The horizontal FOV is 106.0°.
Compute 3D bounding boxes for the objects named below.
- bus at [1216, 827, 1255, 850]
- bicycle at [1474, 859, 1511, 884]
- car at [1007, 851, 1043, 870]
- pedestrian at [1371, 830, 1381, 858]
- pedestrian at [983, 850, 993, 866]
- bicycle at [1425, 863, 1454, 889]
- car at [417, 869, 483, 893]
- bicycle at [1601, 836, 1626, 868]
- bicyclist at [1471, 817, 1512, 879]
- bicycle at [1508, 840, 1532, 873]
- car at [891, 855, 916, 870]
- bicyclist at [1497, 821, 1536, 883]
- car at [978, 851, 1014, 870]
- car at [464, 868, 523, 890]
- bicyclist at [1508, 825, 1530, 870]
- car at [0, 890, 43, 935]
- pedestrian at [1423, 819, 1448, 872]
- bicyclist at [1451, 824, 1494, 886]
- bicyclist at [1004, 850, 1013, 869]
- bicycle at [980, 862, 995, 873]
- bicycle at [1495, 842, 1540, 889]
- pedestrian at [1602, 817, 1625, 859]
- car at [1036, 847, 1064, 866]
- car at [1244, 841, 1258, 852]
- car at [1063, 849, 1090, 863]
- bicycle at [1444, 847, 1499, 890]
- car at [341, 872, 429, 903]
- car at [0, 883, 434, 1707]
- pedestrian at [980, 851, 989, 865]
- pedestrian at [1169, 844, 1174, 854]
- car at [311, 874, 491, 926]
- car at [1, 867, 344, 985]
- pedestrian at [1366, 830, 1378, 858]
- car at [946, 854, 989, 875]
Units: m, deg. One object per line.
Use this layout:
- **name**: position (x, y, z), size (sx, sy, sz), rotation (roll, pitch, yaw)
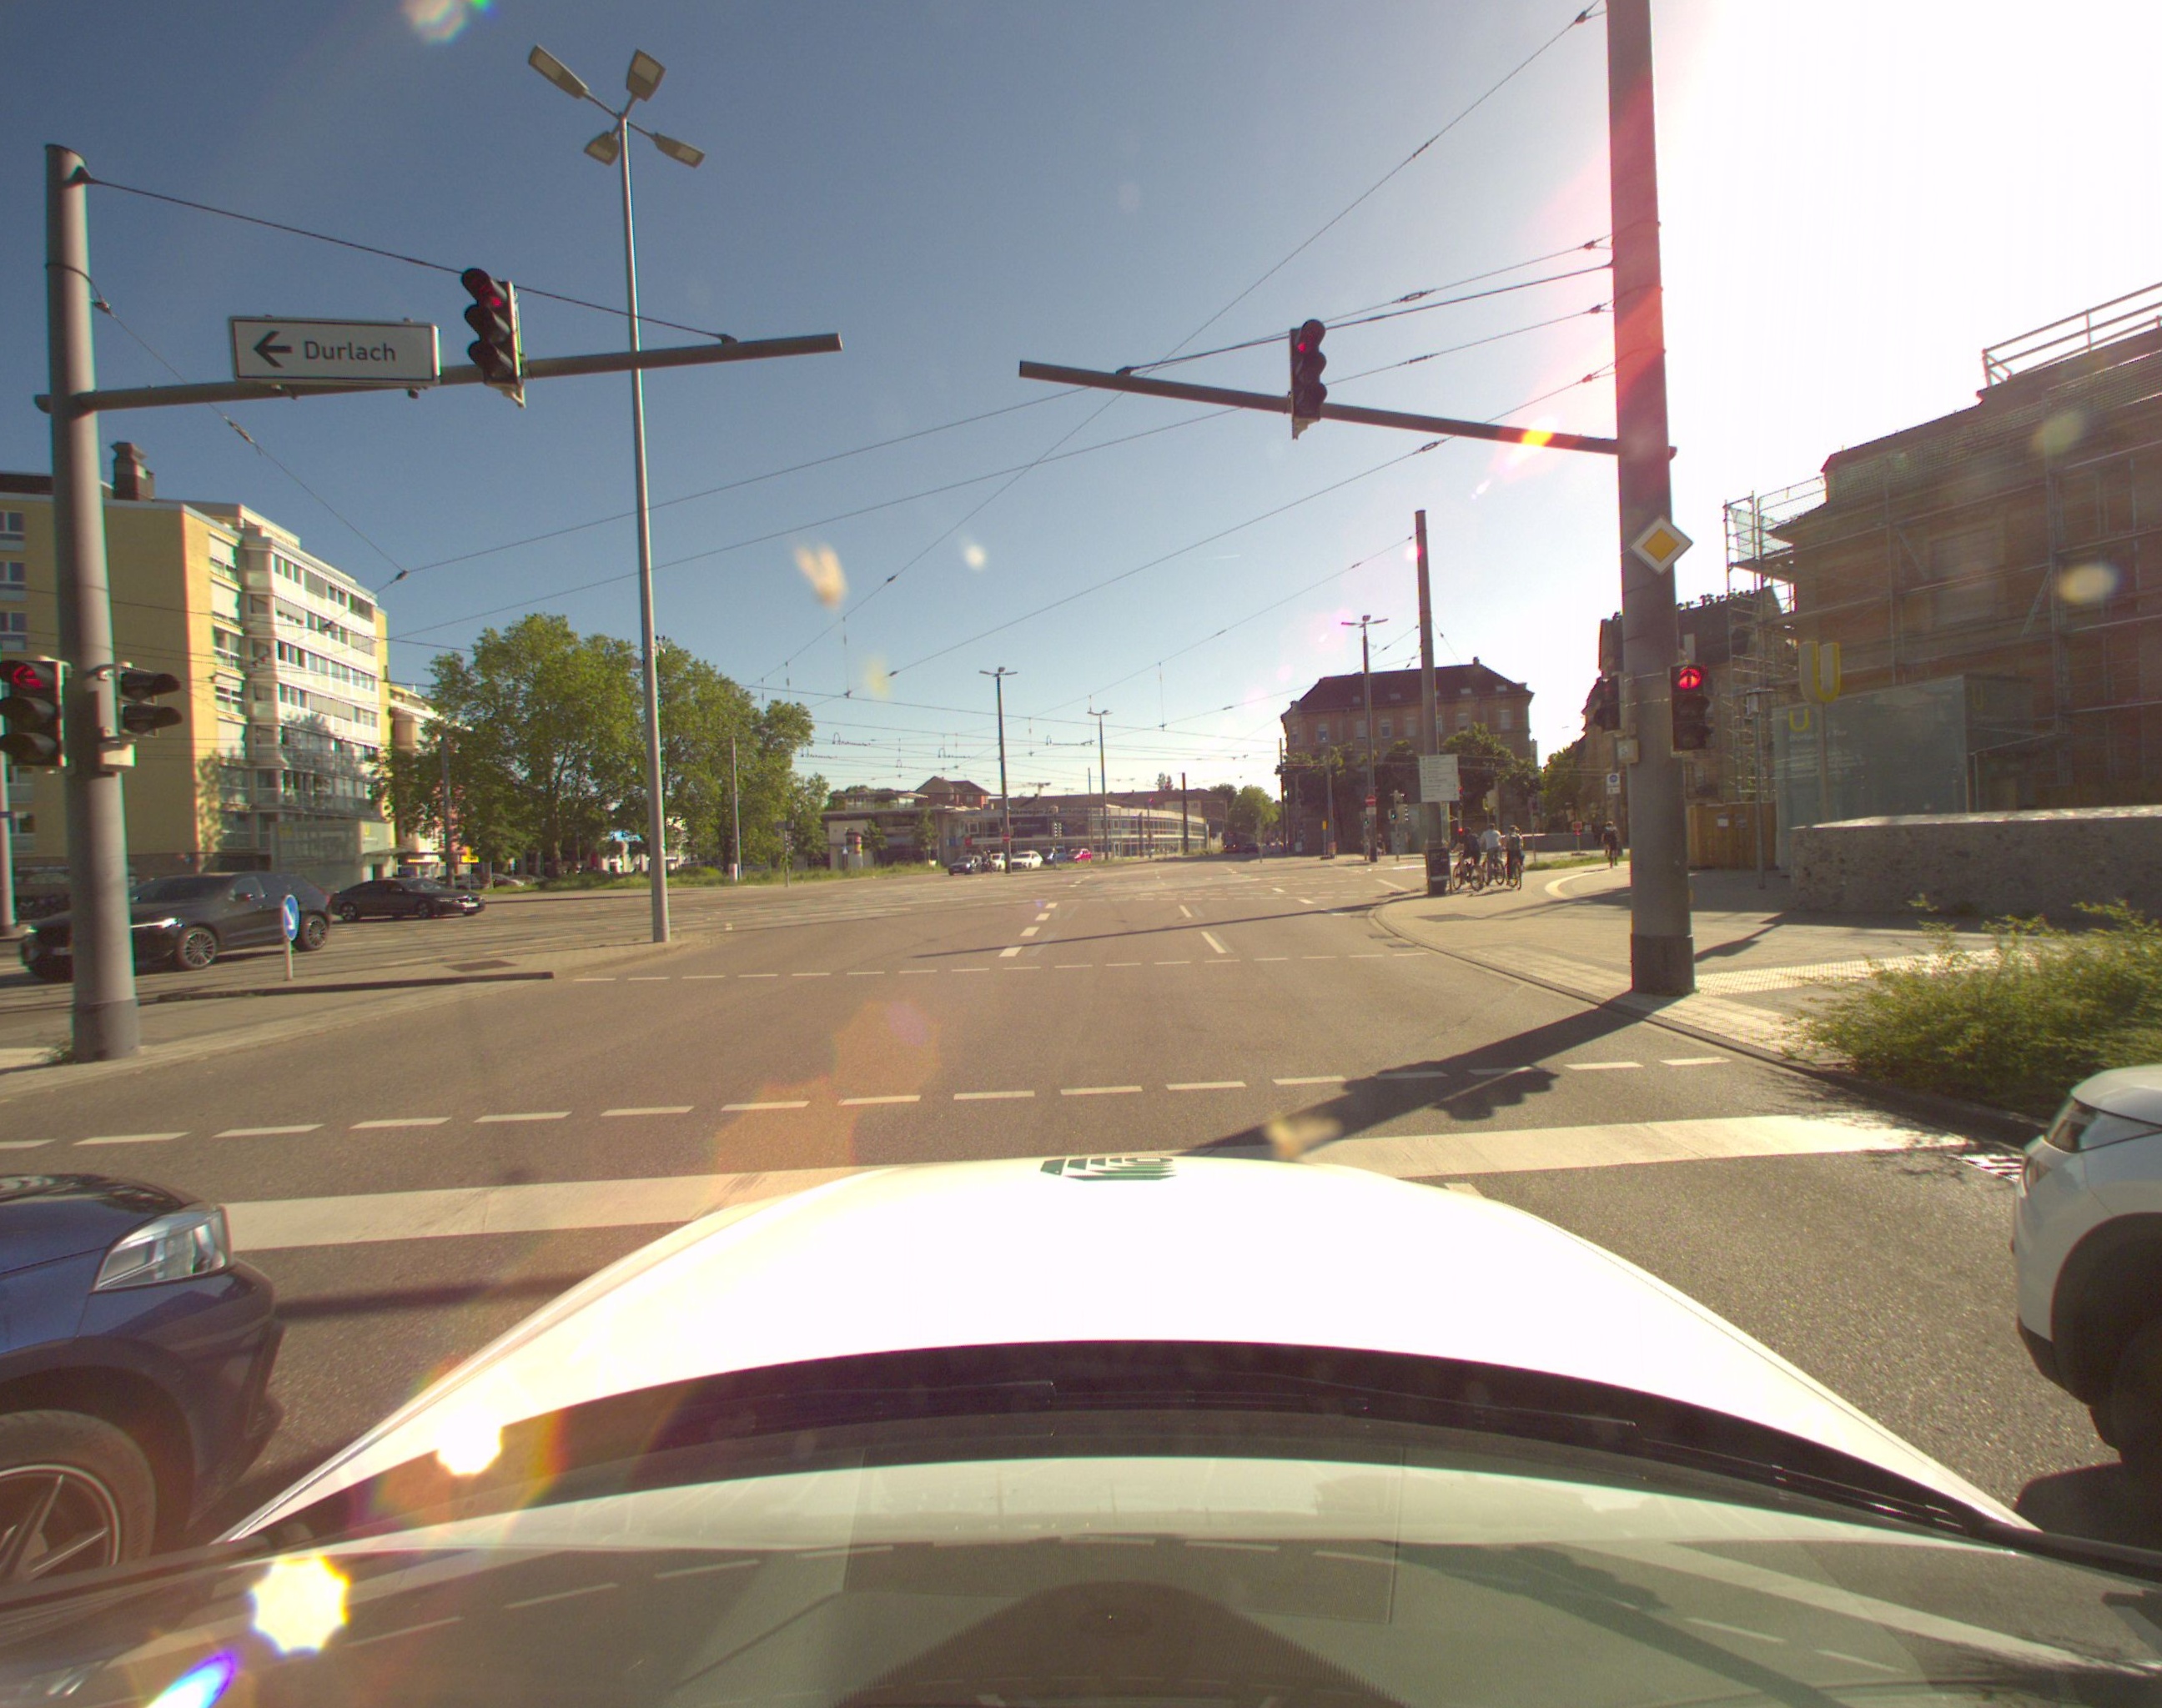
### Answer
- **bus**: position (26.902, -2.499, 140.401), size (3.806, 3.607, 24.978), rotation (-1, 0, 17)
- **bicycle**: position (12.332, 0.521, 24.427), size (0.534, 0.655, 1.471), rotation (-3, 0, 9)
- **car**: position (-4.475, 0.511, 65.222), size (1.613, 1.382, 3.754), rotation (-2, 0, 17)
- **pedestrian**: position (21.862, -0.721, 60.343), size (0.461, 2.013, 0.449), rotation (-3, 0, -16)
- **pedestrian**: position (-6.907, 0.281, 60.739), size (0.419, 1.204, 0.753), rotation (-2, 0, 19)
- **bicycle**: position (10.938, 0.660, 24.889), size (0.533, 0.655, 1.733), rotation (-5, 0, 17)
- **car**: position (-49.710, 2.141, 64.240), size (3.742, 1.662, 1.585), rotation (-2, 0, -18)
- **bicycle**: position (18.800, -0.087, 28.731), size (0.511, 1.044, 1.780), rotation (-4, 0, 38)
- **bicyclist**: position (12.278, -0.175, 24.380), size (0.742, 1.778, 0.926), rotation (-3, 0, 9)
- **bicycle**: position (15.657, 0.086, 29.075), size (0.566, 1.125, 1.750), rotation (-2, 0, 23)
- **car**: position (-21.875, 1.071, 100.591), size (1.958, 1.706, 4.085), rotation (-2, 0, 2)
- **bicyclist**: position (11.730, -0.053, 21.967), size (0.679, 1.598, 0.982), rotation (-5, -1, 19)
- **car**: position (-6.981, 0.554, 67.165), size (1.613, 1.424, 3.702), rotation (-2, 0, 17)
- **car**: position (-51.285, 2.169, 71.164), size (3.742, 1.662, 1.585), rotation (-2, 0, -18)
- **bicyclist**: position (15.672, -0.242, 29.142), size (0.566, 1.568, 0.952), rotation (-2, 0, 22)
- **car**: position (-37.775, 2.043, 26.818), size (4.171, 1.438, 1.718), rotation (-2, 0, -16)
- **pedestrian**: position (10.849, -0.257, 24.916), size (0.544, 1.562, 0.862), rotation (-2, 0, 16)
- **bicyclist**: position (10.825, 0.027, 22.540), size (0.623, 1.637, 0.995), rotation (-3, 0, 1)
- **bicyclist**: position (-6.749, 0.481, 75.684), size (0.565, 1.713, 0.651), rotation (-2, 0, 12)
- **bicycle**: position (-6.929, 1.021, 60.570), size (0.419, 0.718, 1.642), rotation (-2, 0, 19)
- **bicycle**: position (11.754, 0.280, 21.977), size (0.679, 1.163, 1.893), rotation (-5, -1, 19)
- **pedestrian**: position (18.814, -0.565, 28.782), size (0.511, 1.402, 0.968), rotation (-4, 0, 38)
- **car**: position (-2.996, 0.235, 79.215), size (1.613, 1.692, 3.702), rotation (-2, 0, 17)
- **car**: position (25.398, -1.103, 121.439), size (1.686, 1.503, 4.284), rotation (-2, 0, 17)
- **car**: position (-0.445, 0.242, 86.286), size (1.613, 1.364, 3.703), rotation (-2, 0, 18)
- **bicycle**: position (10.846, 0.380, 22.670), size (0.623, 1.114, 1.851), rotation (-3, 0, 2)
- **car**: position (-42.747, 2.047, 50.112), size (3.742, 1.662, 1.585), rotation (-2, 0, -18)
- **car**: position (-2.661, 0.810, 0.170), size (1.704, 1.445, 4.034), rotation (-1, 0, 2)
- **pedestrian**: position (-8.575, 0.345, 72.297), size (0.419, 1.204, 0.684), rotation (-2, 0, 20)
- **pedestrian**: position (14.394, -0.789, 129.496), size (0.537, 1.688, 0.633), rotation (-2, 0, 22)
- **car**: position (-23.552, 1.563, 28.350), size (4.541, 1.501, 1.863), rotation (-2, 0, -2)
- **car**: position (-15.740, 1.126, 14.519), size (1.864, 1.659, 4.060), rotation (-2, 0, -9)
- **pedestrian**: position (21.413, -0.718, 59.887), size (0.574, 2.013, 0.449), rotation (-3, 0, -16)
- **car**: position (-8.501, 0.776, 61.241), size (1.689, 1.354, 3.719), rotation (-2, 0, 19)
